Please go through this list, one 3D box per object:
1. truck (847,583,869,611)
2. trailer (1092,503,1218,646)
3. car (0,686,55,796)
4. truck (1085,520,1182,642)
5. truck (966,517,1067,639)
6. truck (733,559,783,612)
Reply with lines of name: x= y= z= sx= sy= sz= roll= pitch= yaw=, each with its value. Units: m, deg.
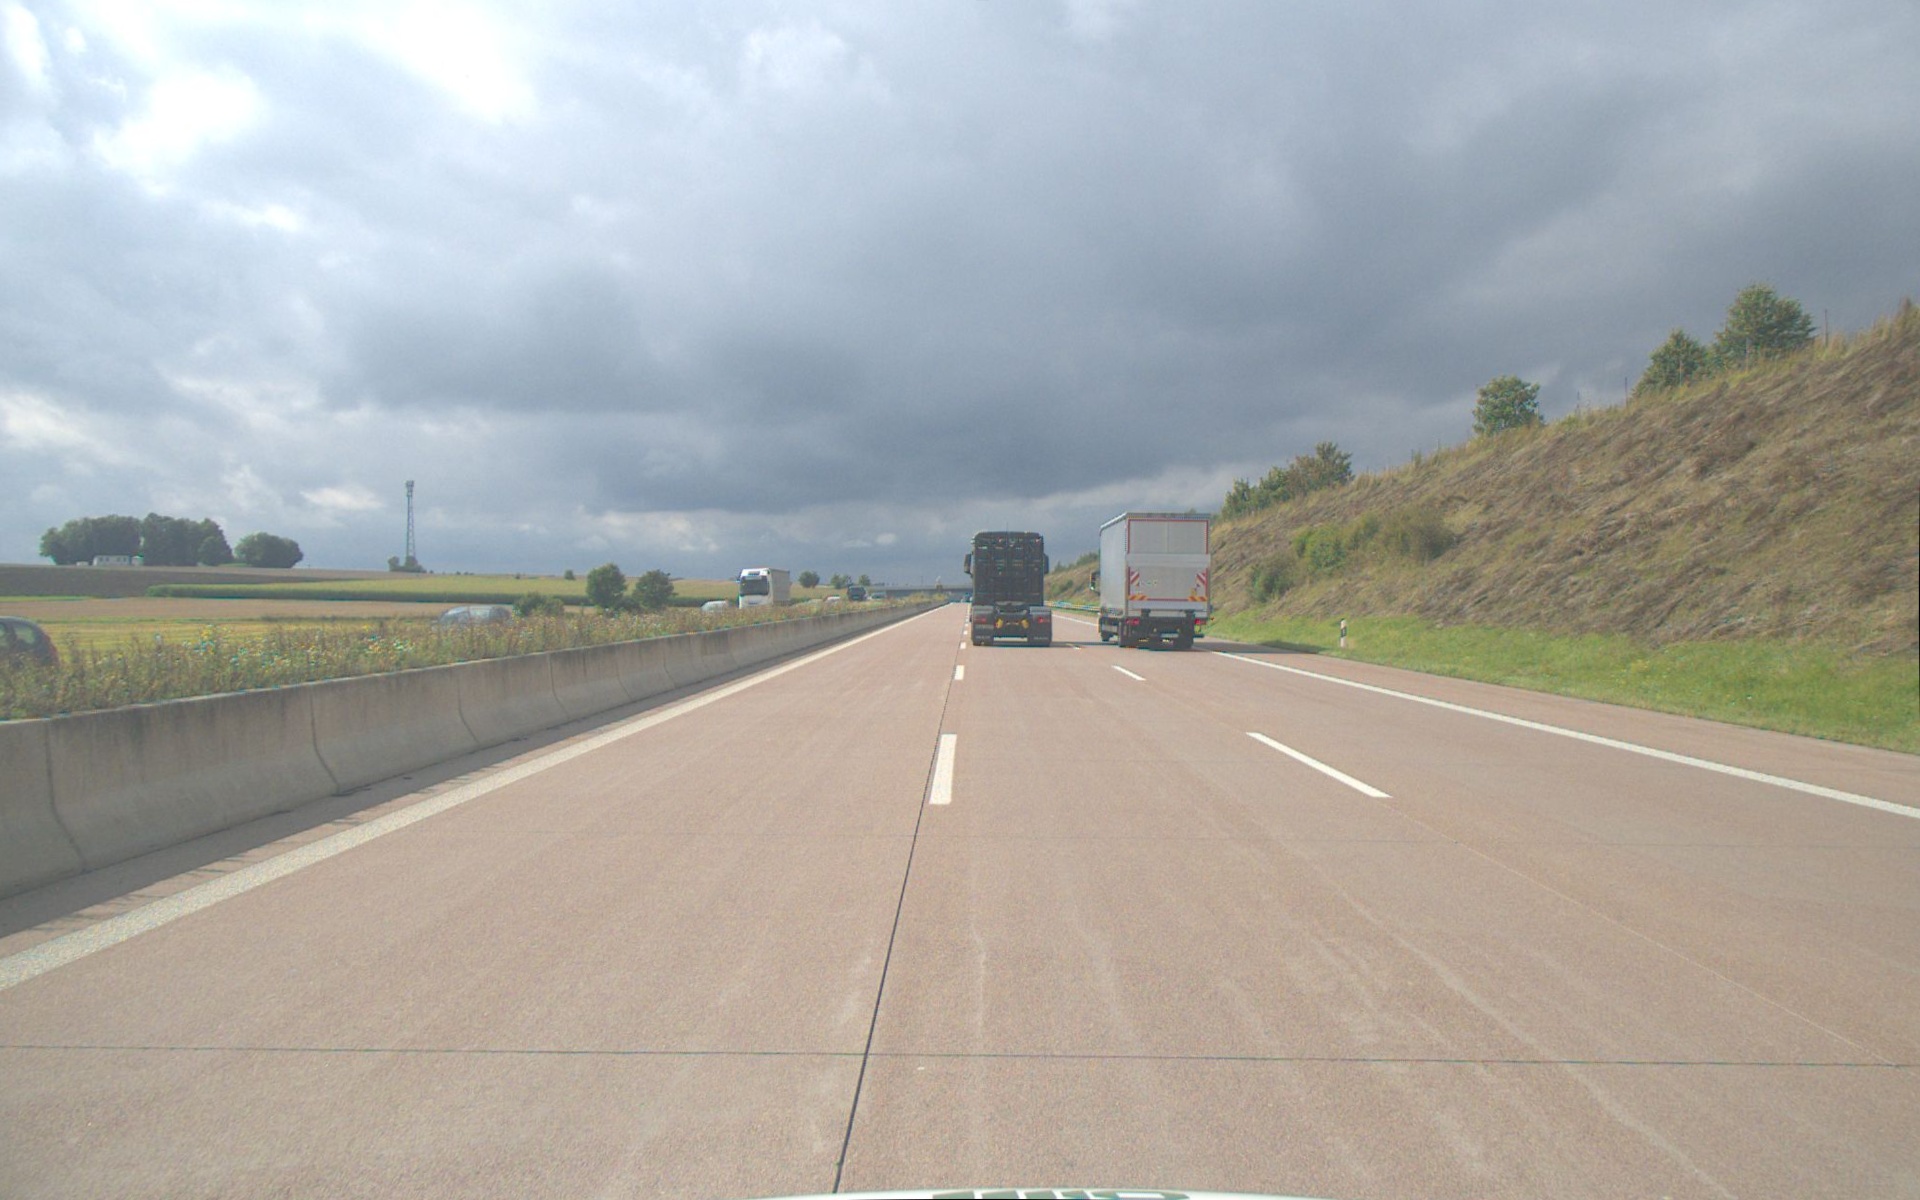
truck: x=-15.825 y=-0.543 z=256.915 sx=2.832 sy=4.170 sz=6.336 roll=-2 pitch=0 yaw=1
trailer: x=5.994 y=-0.729 z=52.202 sx=2.692 sy=4.082 sz=8.668 roll=1 pitch=0 yaw=-1
car: x=-14.442 y=2.053 z=22.739 sx=1.746 sy=1.489 sz=4.000 roll=-2 pitch=0 yaw=0
truck: x=5.882 y=-0.615 z=56.596 sx=2.693 sy=3.960 sz=4.544 roll=1 pitch=0 yaw=-2
truck: x=1.708 y=-0.647 z=53.732 sx=2.790 sy=3.612 sz=8.317 roll=1 pitch=0 yaw=-1
truck: x=-16.399 y=-1.186 z=134.453 sx=3.140 sy=4.170 sz=6.127 roll=1 pitch=0 yaw=1
